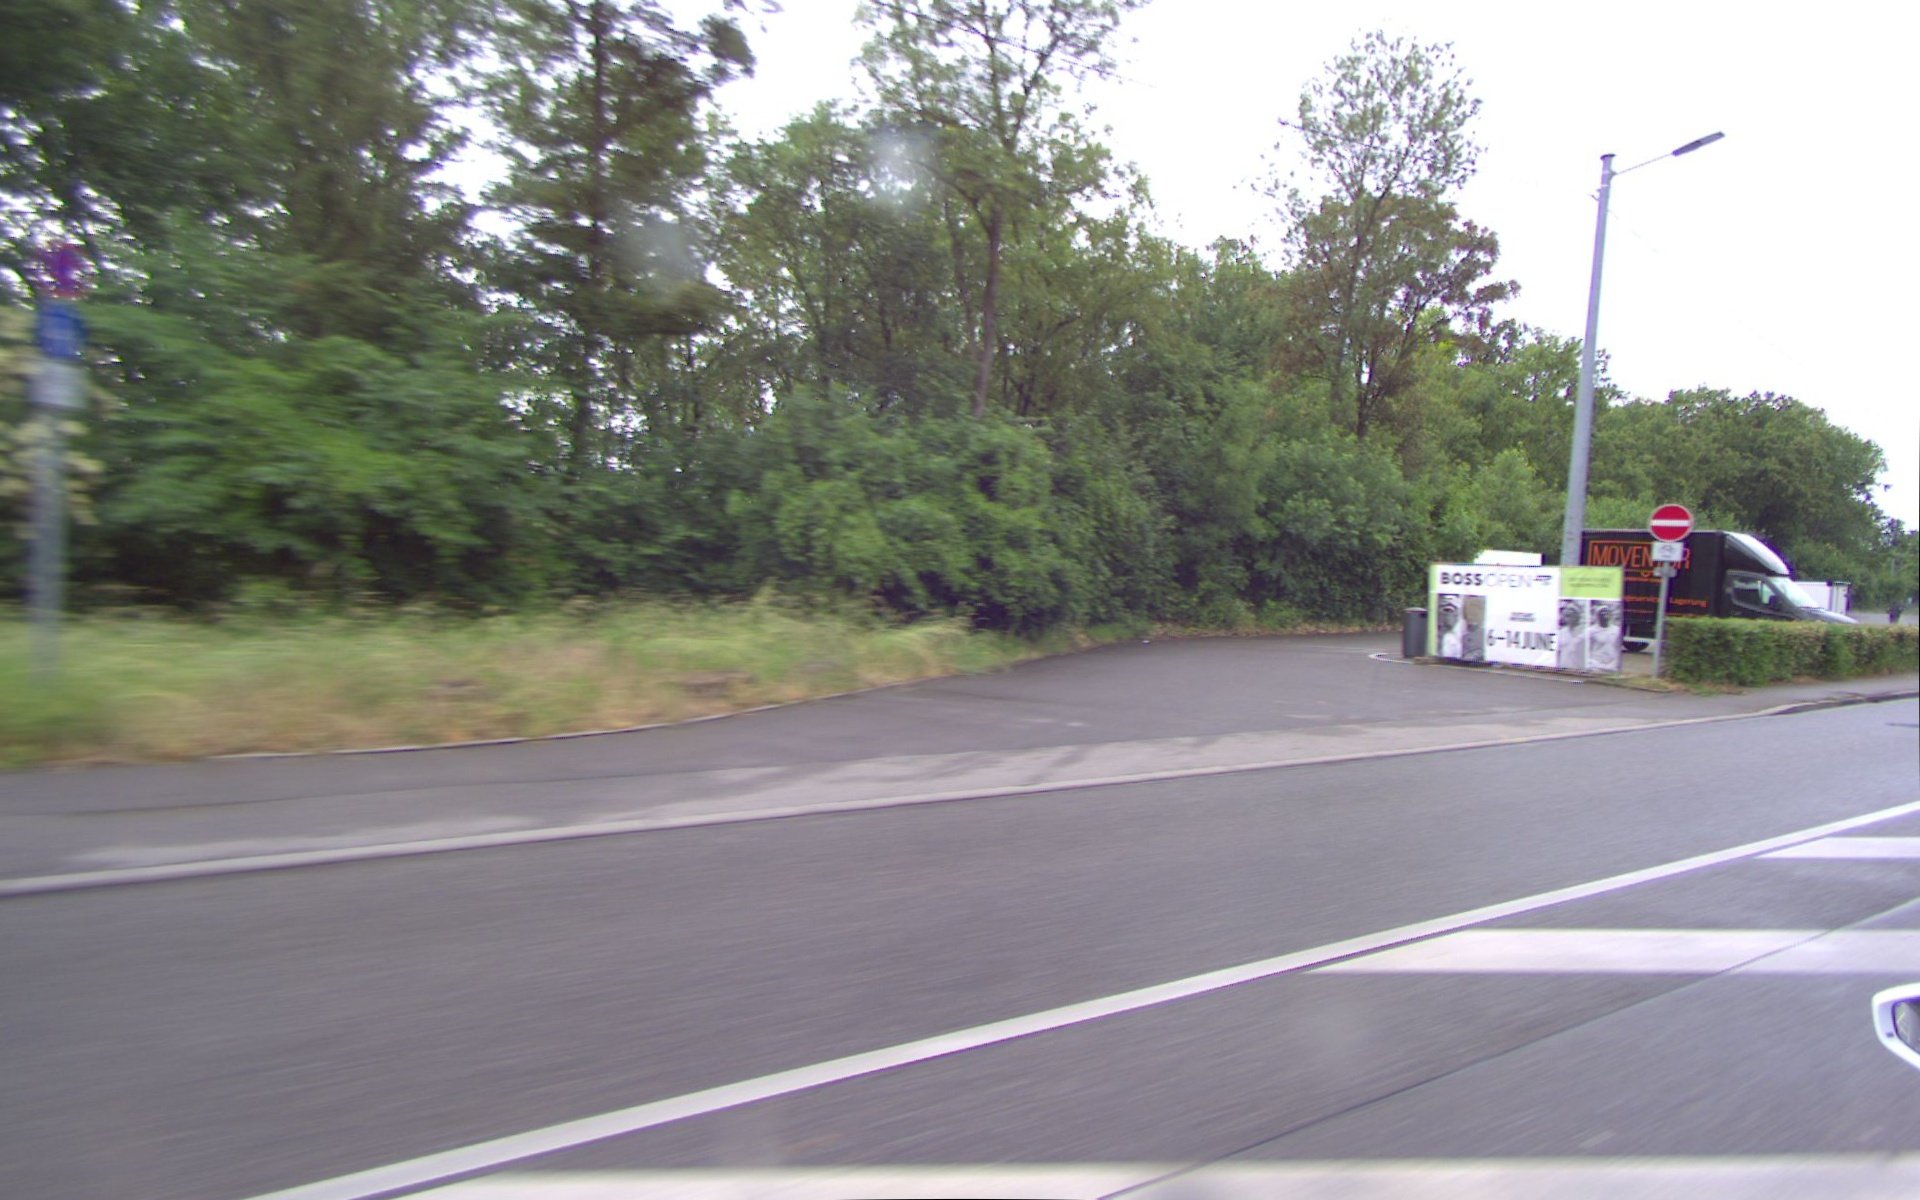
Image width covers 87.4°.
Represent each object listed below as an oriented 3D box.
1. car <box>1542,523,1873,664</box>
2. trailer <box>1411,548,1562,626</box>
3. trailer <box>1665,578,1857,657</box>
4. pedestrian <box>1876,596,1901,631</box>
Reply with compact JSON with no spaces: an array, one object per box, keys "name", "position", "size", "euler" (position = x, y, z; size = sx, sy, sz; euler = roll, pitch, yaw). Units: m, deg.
[{"name":"car","position":[18.935,-0.226,25.803],"size":[2.727,3.155,6.224],"euler":[2,1,-38]},{"name":"trailer","position":[21.542,-0.455,40.886],"size":[7.907,2.912,2.456],"euler":[1,1,-39]},{"name":"trailer","position":[23.153,0.451,29.163],"size":[1.854,2.080,3.961],"euler":[1,1,-35]},{"name":"pedestrian","position":[49.143,0.694,53.139],"size":[1.127,1.822,0.809],"euler":[0,2,-43]}]
